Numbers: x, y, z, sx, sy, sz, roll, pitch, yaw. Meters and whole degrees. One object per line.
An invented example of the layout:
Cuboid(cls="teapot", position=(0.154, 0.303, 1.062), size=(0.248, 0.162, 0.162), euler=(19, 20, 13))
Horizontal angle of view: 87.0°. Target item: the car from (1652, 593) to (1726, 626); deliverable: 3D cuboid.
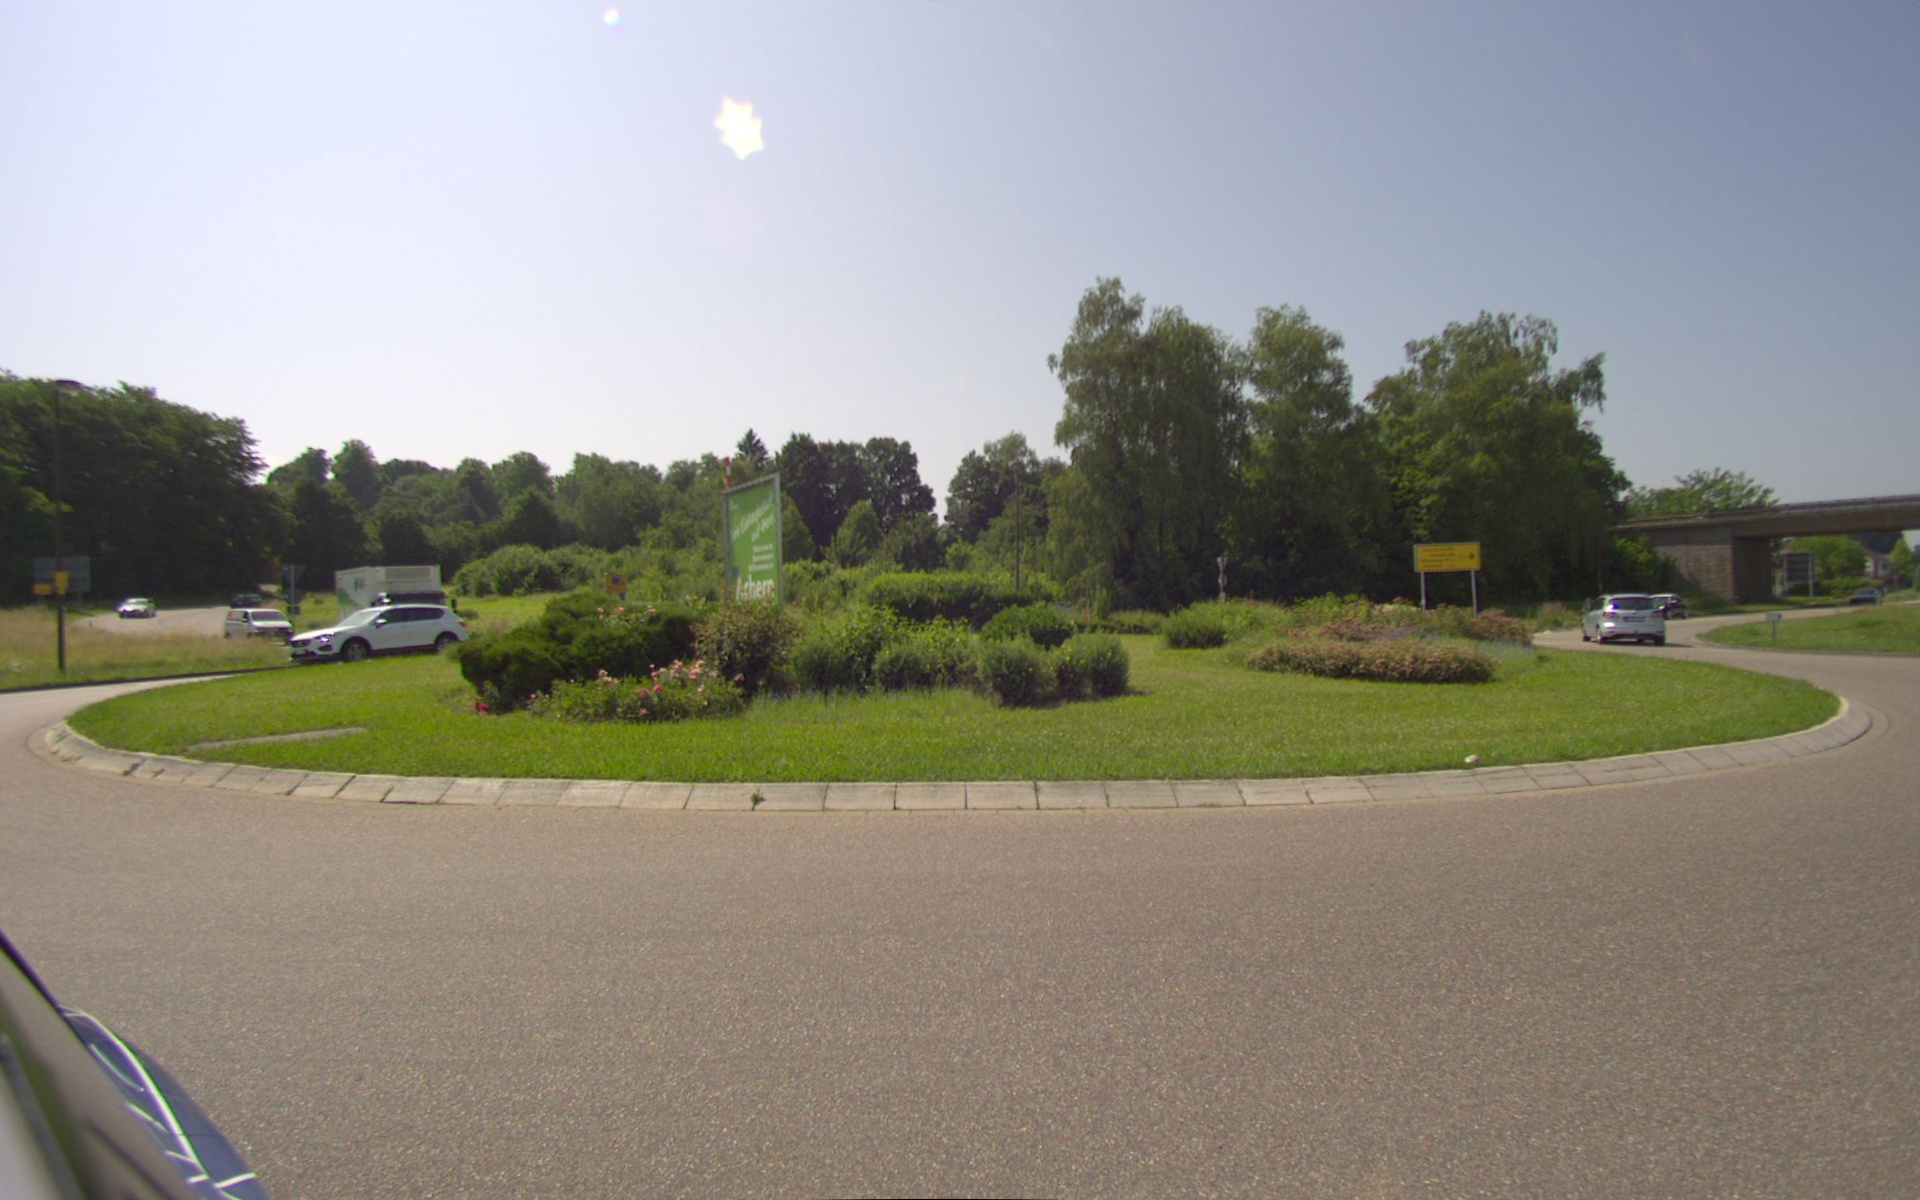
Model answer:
Cuboid(cls="car", position=(41.332, 0.526, 57.351), size=(4.562, 1.664, 2.034), euler=(-3, 0, -35))

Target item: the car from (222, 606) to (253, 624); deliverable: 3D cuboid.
Cuboid(cls="car", position=(-65.818, 1.388, 92.235), size=(1.727, 1.542, 4.226), euler=(1, -3, -28))

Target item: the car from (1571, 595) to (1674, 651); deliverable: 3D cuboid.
Cuboid(cls="car", position=(21.065, 0.680, 32.334), size=(1.777, 1.563, 3.975), euler=(-2, 1, 19))

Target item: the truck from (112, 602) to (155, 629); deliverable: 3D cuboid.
Cuboid(cls="truck", position=(-66.422, 1.212, 81.378), size=(2.324, 2.029, 5.453), euler=(-3, 1, -36))

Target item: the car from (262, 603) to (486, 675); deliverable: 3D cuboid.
Cuboid(cls="car", position=(-16.324, 1.028, 28.525), size=(2.186, 1.664, 5.077), euler=(-2, 0, 26))

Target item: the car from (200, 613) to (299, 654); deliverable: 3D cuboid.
Cuboid(cls="car", position=(-37.999, 1.777, 54.086), size=(5.577, 2.029, 1.981), euler=(-2, 1, 28))

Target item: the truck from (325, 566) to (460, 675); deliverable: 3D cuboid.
Cuboid(cls="truck", position=(-23.063, 0.769, 40.821), size=(2.855, 3.857, 9.036), euler=(-3, 1, -41))
